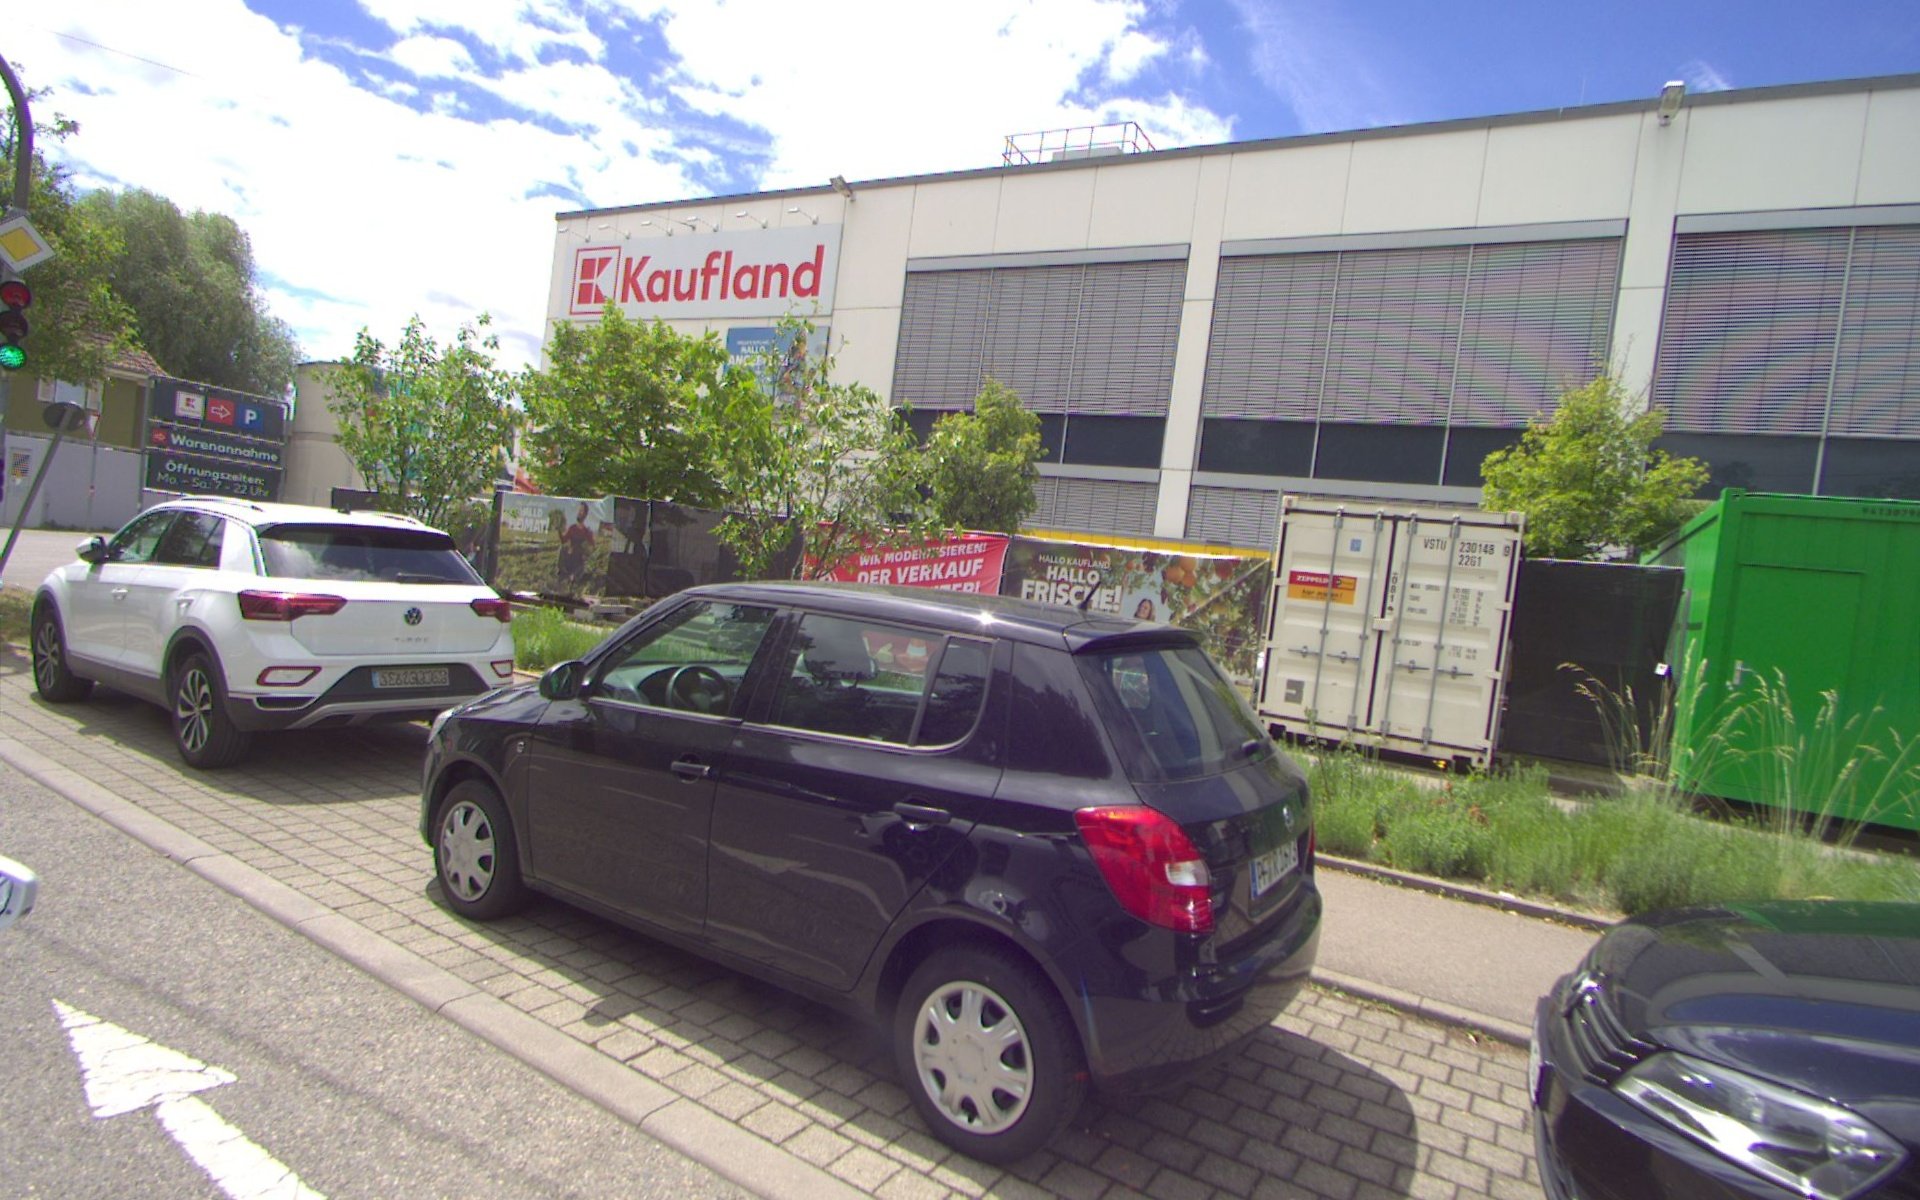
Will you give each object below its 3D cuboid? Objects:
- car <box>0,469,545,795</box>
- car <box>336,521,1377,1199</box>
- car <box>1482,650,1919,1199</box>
[{"bbox_3d":[-5.127,0.040,7.222,4.314,1.638,1.736,6,3,32],"label":"car"},{"bbox_3d":[-0.629,0.631,4.040,3.934,1.512,1.569,7,2,32],"label":"car"},{"bbox_3d":[3.591,1.144,1.516,4.852,1.497,1.765,6,3,30],"label":"car"}]
